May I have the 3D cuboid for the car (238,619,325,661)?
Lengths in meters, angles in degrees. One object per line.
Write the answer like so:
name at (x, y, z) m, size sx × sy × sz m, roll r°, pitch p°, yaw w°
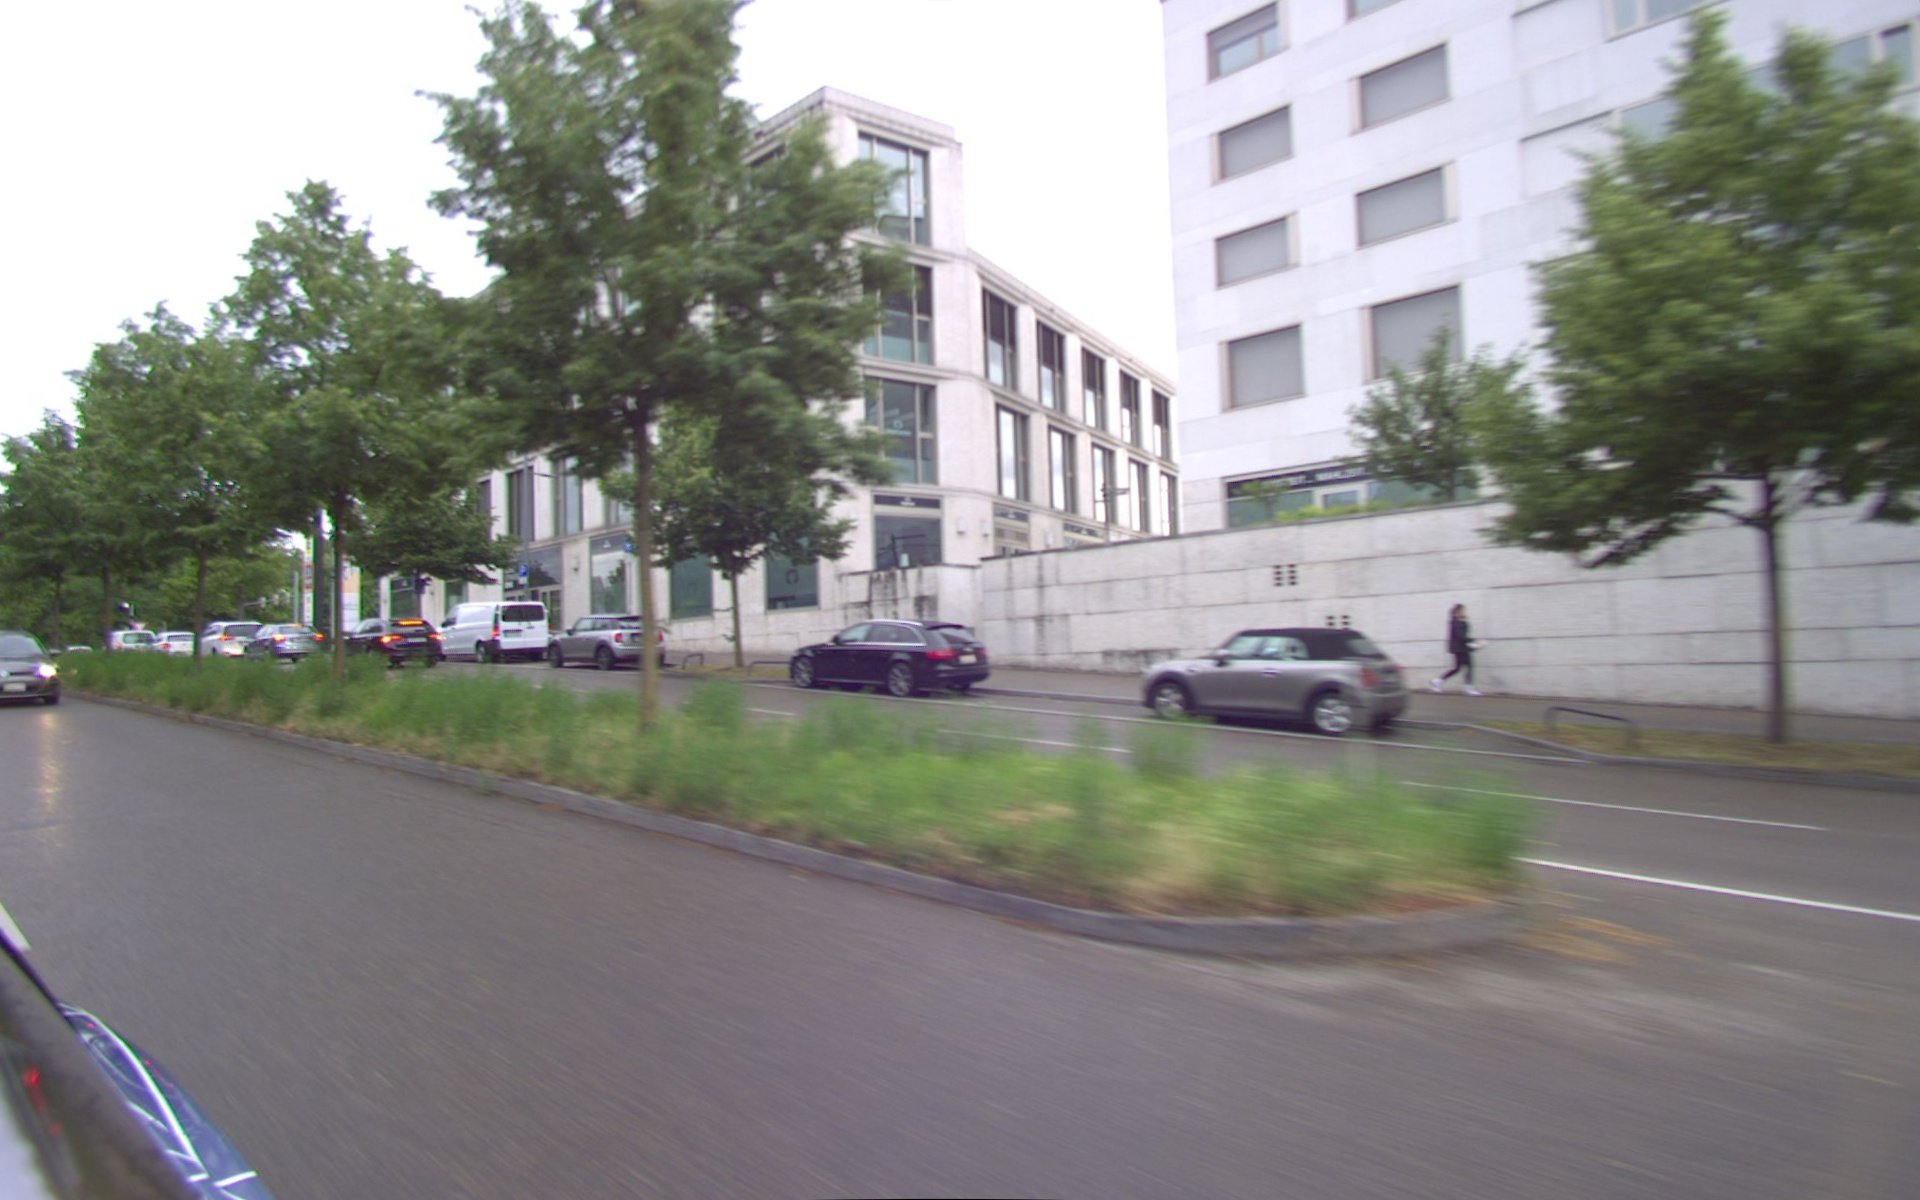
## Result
car at (-24.808, 1.471, 36.957) m, size 3.994 × 1.422 × 1.624 m, roll -4°, pitch -4°, yaw 41°

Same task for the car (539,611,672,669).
car at (-9.511, 1.033, 27.039) m, size 3.695 × 1.395 × 1.678 m, roll -1°, pitch 0°, yaw 40°

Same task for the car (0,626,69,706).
car at (-19.014, 1.267, 19.825) m, size 3.998 × 1.450 × 1.880 m, roll -2°, pitch -2°, yaw 42°

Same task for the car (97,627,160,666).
car at (-44.594, 2.493, 54.257) m, size 4.770 × 1.816 × 1.824 m, roll -5°, pitch -3°, yaw 41°

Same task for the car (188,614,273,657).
car at (-29.570, 1.442, 40.965) m, size 4.671 × 1.613 × 1.810 m, roll -2°, pitch -2°, yaw 41°

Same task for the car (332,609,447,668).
car at (-16.898, 1.104, 29.921) m, size 4.015 × 1.593 × 1.677 m, roll -1°, pitch 0°, yaw 41°

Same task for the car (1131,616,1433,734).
car at (4.600, 0.994, 14.770) m, size 3.859 × 1.455 × 1.677 m, roll -1°, pitch 0°, yaw 42°

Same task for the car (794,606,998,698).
car at (-1.330, 0.928, 19.892) m, size 4.016 × 1.593 × 1.677 m, roll 0°, pitch 0°, yaw 41°

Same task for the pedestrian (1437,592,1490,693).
pedestrian at (9.236, 0.770, 18.571) m, size 0.691 × 1.788 × 0.711 m, roll -2°, pitch -2°, yaw 40°

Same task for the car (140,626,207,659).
car at (-36.934, 1.990, 47.510) m, size 4.058 × 1.479 × 1.725 m, roll -2°, pitch -3°, yaw 41°

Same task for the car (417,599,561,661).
car at (-14.979, 0.955, 32.059) m, size 5.255 × 1.829 × 2.101 m, roll -2°, pitch -2°, yaw 40°
